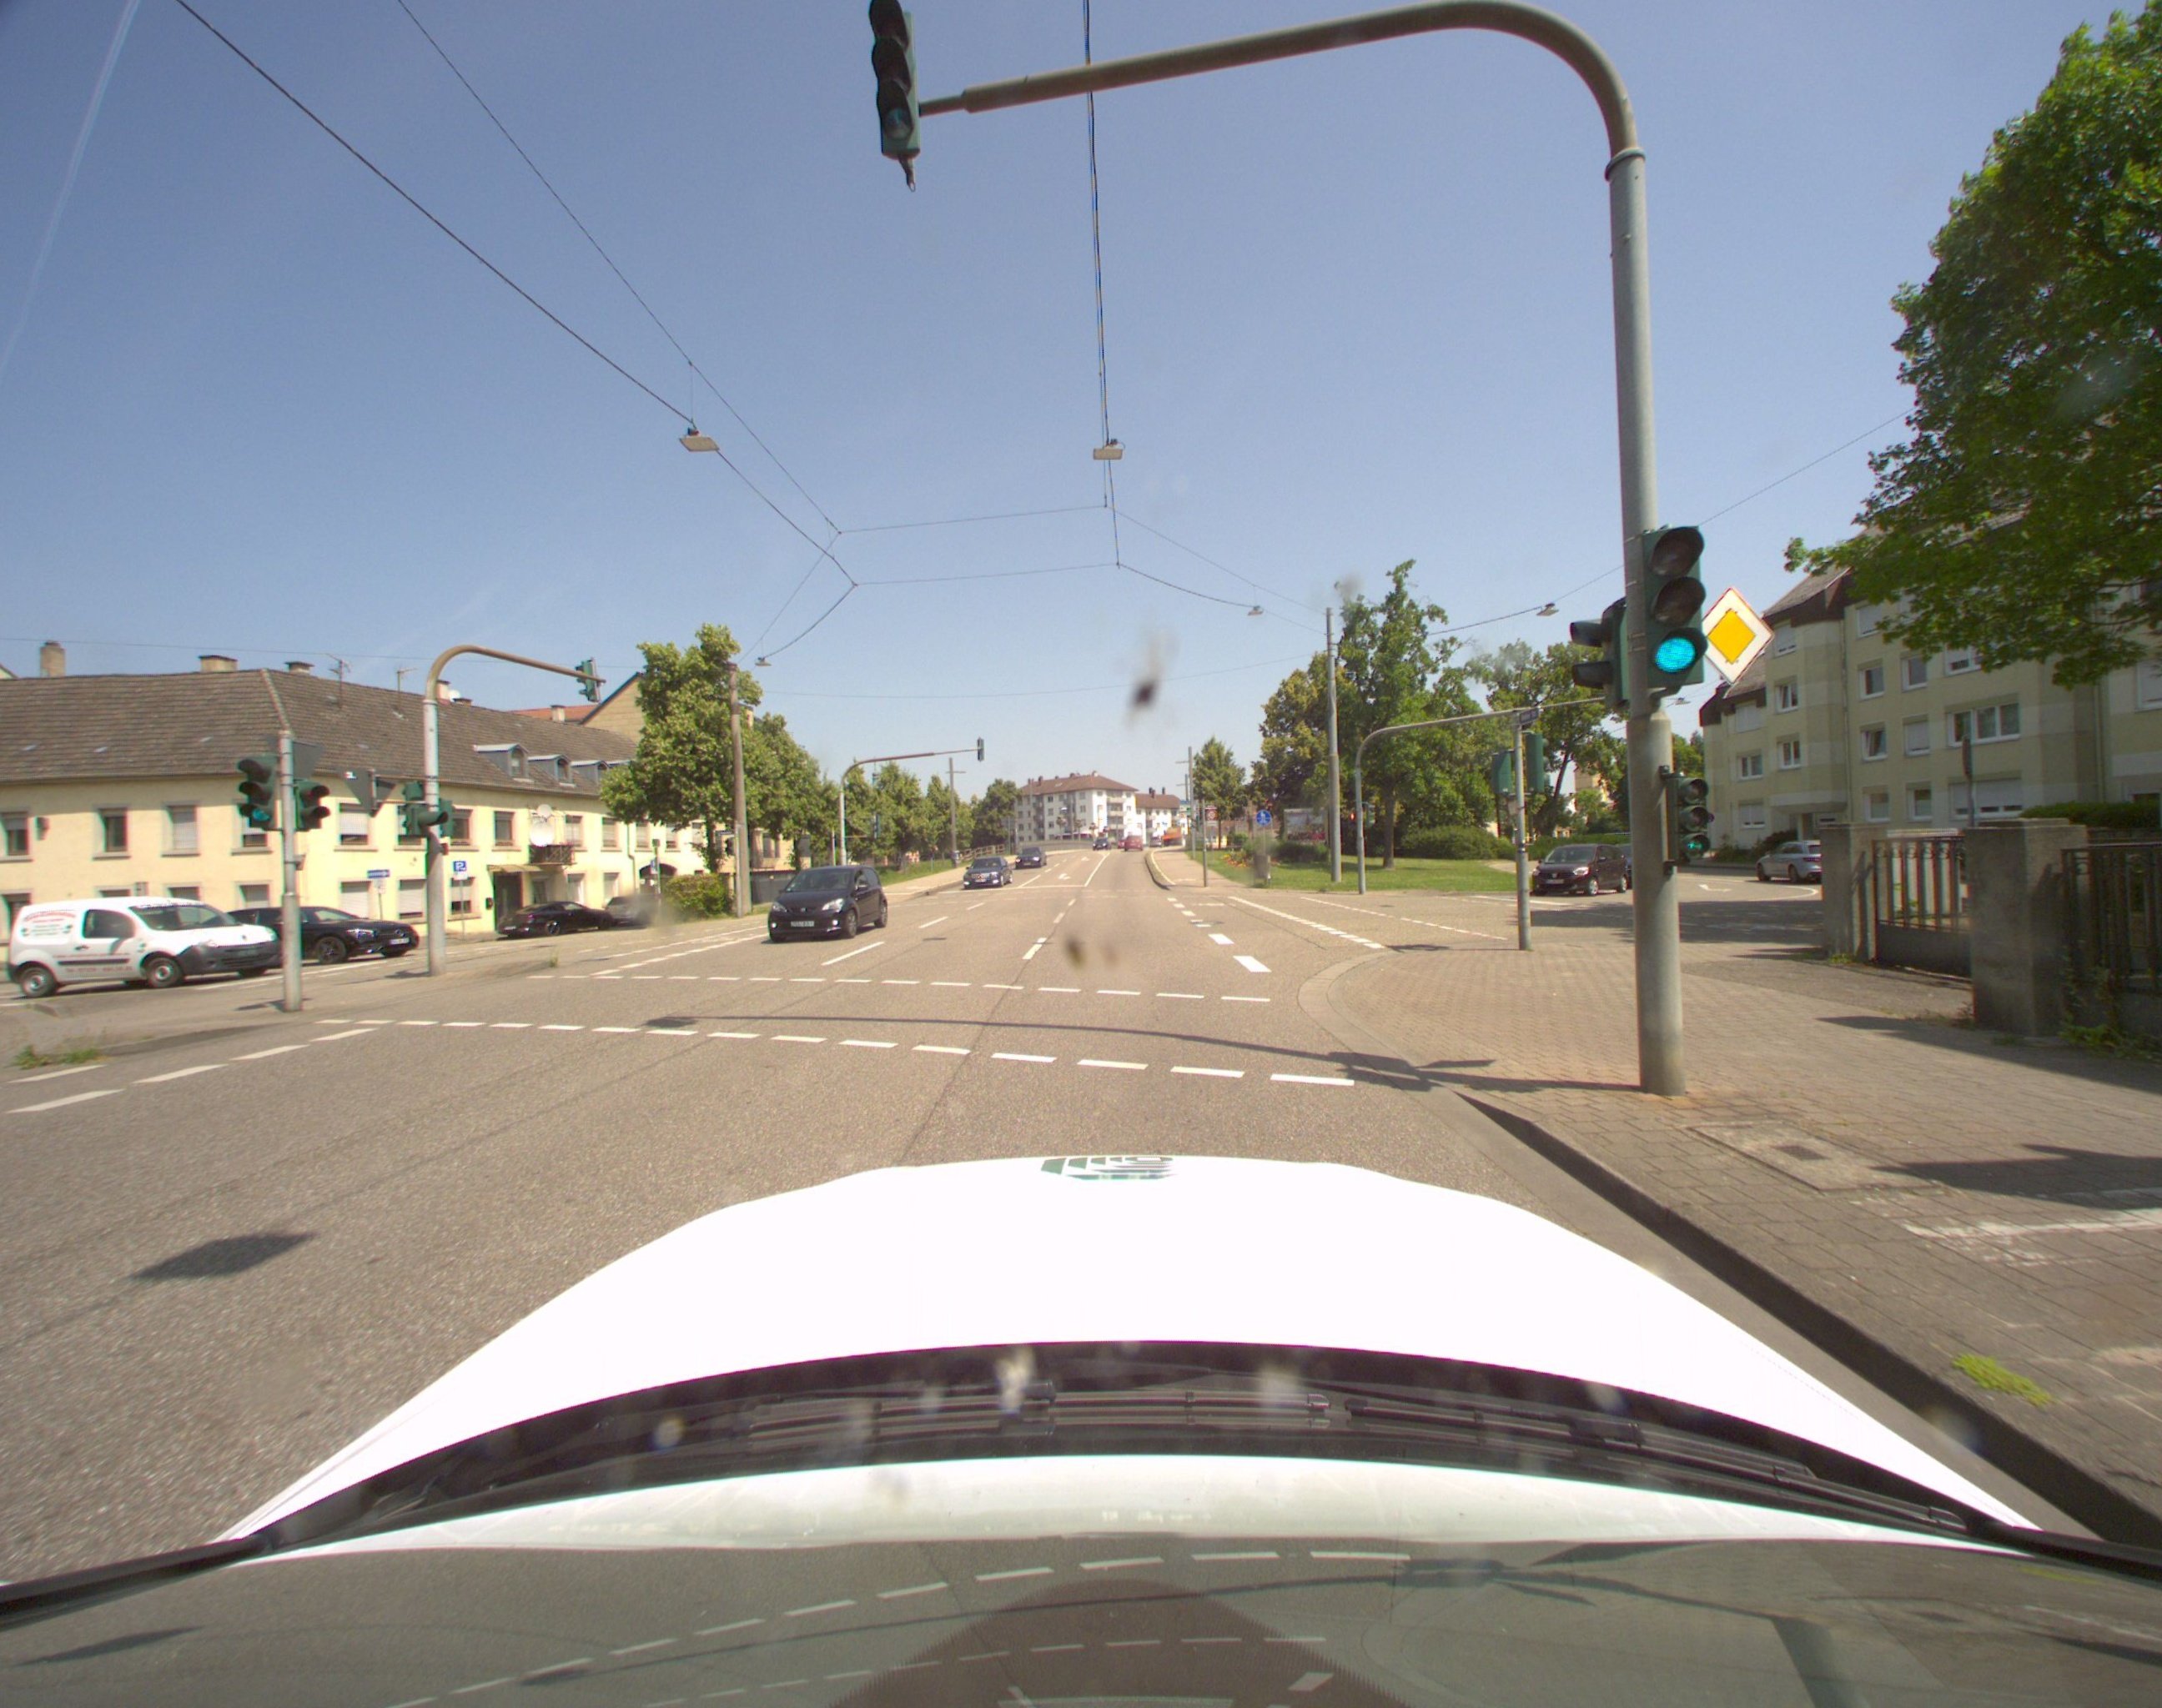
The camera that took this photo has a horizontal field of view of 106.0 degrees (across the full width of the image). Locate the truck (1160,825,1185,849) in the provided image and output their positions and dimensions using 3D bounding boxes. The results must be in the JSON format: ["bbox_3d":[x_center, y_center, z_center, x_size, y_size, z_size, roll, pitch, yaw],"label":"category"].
[{"bbox_3d":[11.368,-2.107,100.672,2.589,2.691,5.840,-2,1,10],"label":"truck"}]

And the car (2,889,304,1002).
[{"bbox_3d":[-18.193,1.749,16.120,3.674,1.735,1.894,-5,0,0],"label":"car"}]

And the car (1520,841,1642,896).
[{"bbox_3d":[16.280,0.424,26.422,4.843,1.632,1.895,-1,-1,-40],"label":"car"}]

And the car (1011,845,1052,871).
[{"bbox_3d":[-3.356,0.249,56.020,1.826,1.399,4.060,-5,1,9],"label":"car"}]

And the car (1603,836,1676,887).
[{"bbox_3d":[20.815,0.254,30.516,1.974,1.701,4.799,-3,-1,32],"label":"car"}]

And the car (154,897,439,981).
[{"bbox_3d":[-18.654,1.993,19.579,4.593,1.401,2.115,-5,0,-2],"label":"car"}]

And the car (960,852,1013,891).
[{"bbox_3d":[-4.425,0.790,38.691,1.749,1.560,4.320,-4,1,2],"label":"car"}]

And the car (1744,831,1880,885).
[{"bbox_3d":[24.620,0.108,27.642,1.876,1.499,4.554,-6,-2,22],"label":"car"}]

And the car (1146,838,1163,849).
[{"bbox_3d":[10.379,-1.413,114.804,2.026,1.503,4.429,-1,0,10],"label":"car"}]

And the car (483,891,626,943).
[{"bbox_3d":[-21.876,2.569,34.160,1.804,1.628,5.300,-5,-1,9],"label":"car"}]

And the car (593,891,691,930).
[{"bbox_3d":[-21.033,2.677,39.280,1.765,1.432,4.442,-1,1,9],"label":"car"}]

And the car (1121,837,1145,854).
[{"bbox_3d":[5.277,-0.878,82.036,1.979,1.613,4.353,-3,0,8],"label":"car"}]

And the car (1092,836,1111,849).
[{"bbox_3d":[2.445,-1.356,96.869,1.704,1.485,4.041,-1,0,9],"label":"car"}]

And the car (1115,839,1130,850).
[{"bbox_3d":[5.897,-1.367,116.411,1.637,1.464,3.871,-2,-1,10],"label":"car"}]

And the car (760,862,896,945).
[{"bbox_3d":[-5.237,0.966,17.348,1.610,1.455,3.710,-2,0,1],"label":"car"}]

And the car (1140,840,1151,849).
[{"bbox_3d":[11.726,-1.762,147.648,1.704,1.485,4.042,-1,0,9],"label":"car"}]
